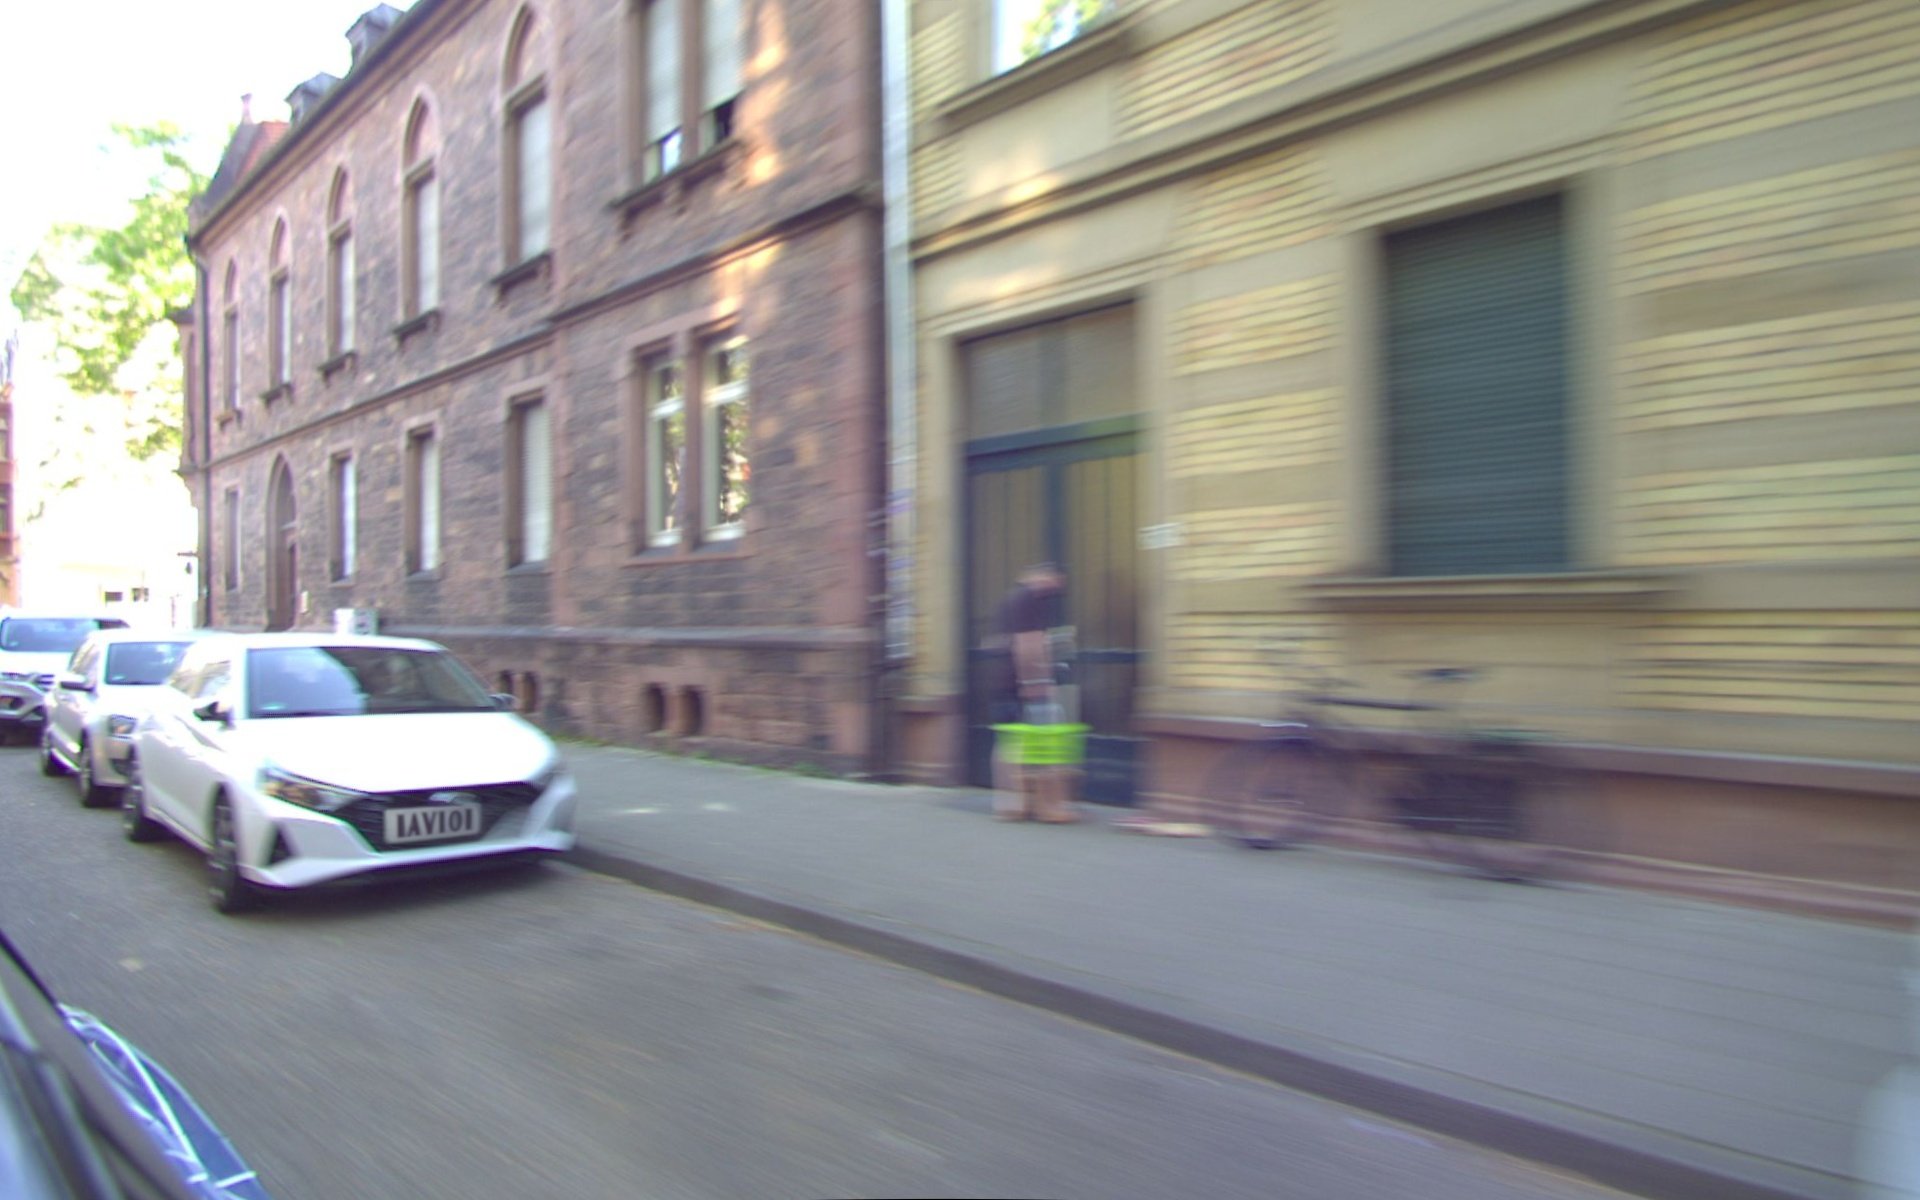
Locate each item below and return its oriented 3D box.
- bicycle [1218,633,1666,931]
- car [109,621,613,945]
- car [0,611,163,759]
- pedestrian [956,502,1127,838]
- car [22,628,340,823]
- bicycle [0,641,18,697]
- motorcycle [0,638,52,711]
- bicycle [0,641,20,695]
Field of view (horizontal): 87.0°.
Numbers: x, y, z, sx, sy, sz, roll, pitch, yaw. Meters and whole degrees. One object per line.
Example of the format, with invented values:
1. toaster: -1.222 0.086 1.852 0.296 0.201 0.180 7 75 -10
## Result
1. bicycle: 2.245 0.758 4.883 1.843 1.156 0.564 -1 2 40
2. car: -3.986 0.883 6.475 3.802 1.428 1.690 -1 -3 42
3. car: -12.178 1.013 13.489 4.277 1.687 1.690 -1 -3 42
4. pedestrian: 0.518 0.409 6.389 0.762 1.943 0.759 -1 -1 37
5. car: -7.476 1.018 9.586 3.802 1.428 1.690 -1 -3 42
6. bicycle: -18.950 1.359 20.112 0.230 1.050 1.200 -1 -1 -38
7. motorcycle: -17.718 1.314 18.062 2.292 1.260 0.702 0 -1 -4
8. bicycle: -19.768 1.370 20.276 1.660 1.050 0.234 -1 1 1
